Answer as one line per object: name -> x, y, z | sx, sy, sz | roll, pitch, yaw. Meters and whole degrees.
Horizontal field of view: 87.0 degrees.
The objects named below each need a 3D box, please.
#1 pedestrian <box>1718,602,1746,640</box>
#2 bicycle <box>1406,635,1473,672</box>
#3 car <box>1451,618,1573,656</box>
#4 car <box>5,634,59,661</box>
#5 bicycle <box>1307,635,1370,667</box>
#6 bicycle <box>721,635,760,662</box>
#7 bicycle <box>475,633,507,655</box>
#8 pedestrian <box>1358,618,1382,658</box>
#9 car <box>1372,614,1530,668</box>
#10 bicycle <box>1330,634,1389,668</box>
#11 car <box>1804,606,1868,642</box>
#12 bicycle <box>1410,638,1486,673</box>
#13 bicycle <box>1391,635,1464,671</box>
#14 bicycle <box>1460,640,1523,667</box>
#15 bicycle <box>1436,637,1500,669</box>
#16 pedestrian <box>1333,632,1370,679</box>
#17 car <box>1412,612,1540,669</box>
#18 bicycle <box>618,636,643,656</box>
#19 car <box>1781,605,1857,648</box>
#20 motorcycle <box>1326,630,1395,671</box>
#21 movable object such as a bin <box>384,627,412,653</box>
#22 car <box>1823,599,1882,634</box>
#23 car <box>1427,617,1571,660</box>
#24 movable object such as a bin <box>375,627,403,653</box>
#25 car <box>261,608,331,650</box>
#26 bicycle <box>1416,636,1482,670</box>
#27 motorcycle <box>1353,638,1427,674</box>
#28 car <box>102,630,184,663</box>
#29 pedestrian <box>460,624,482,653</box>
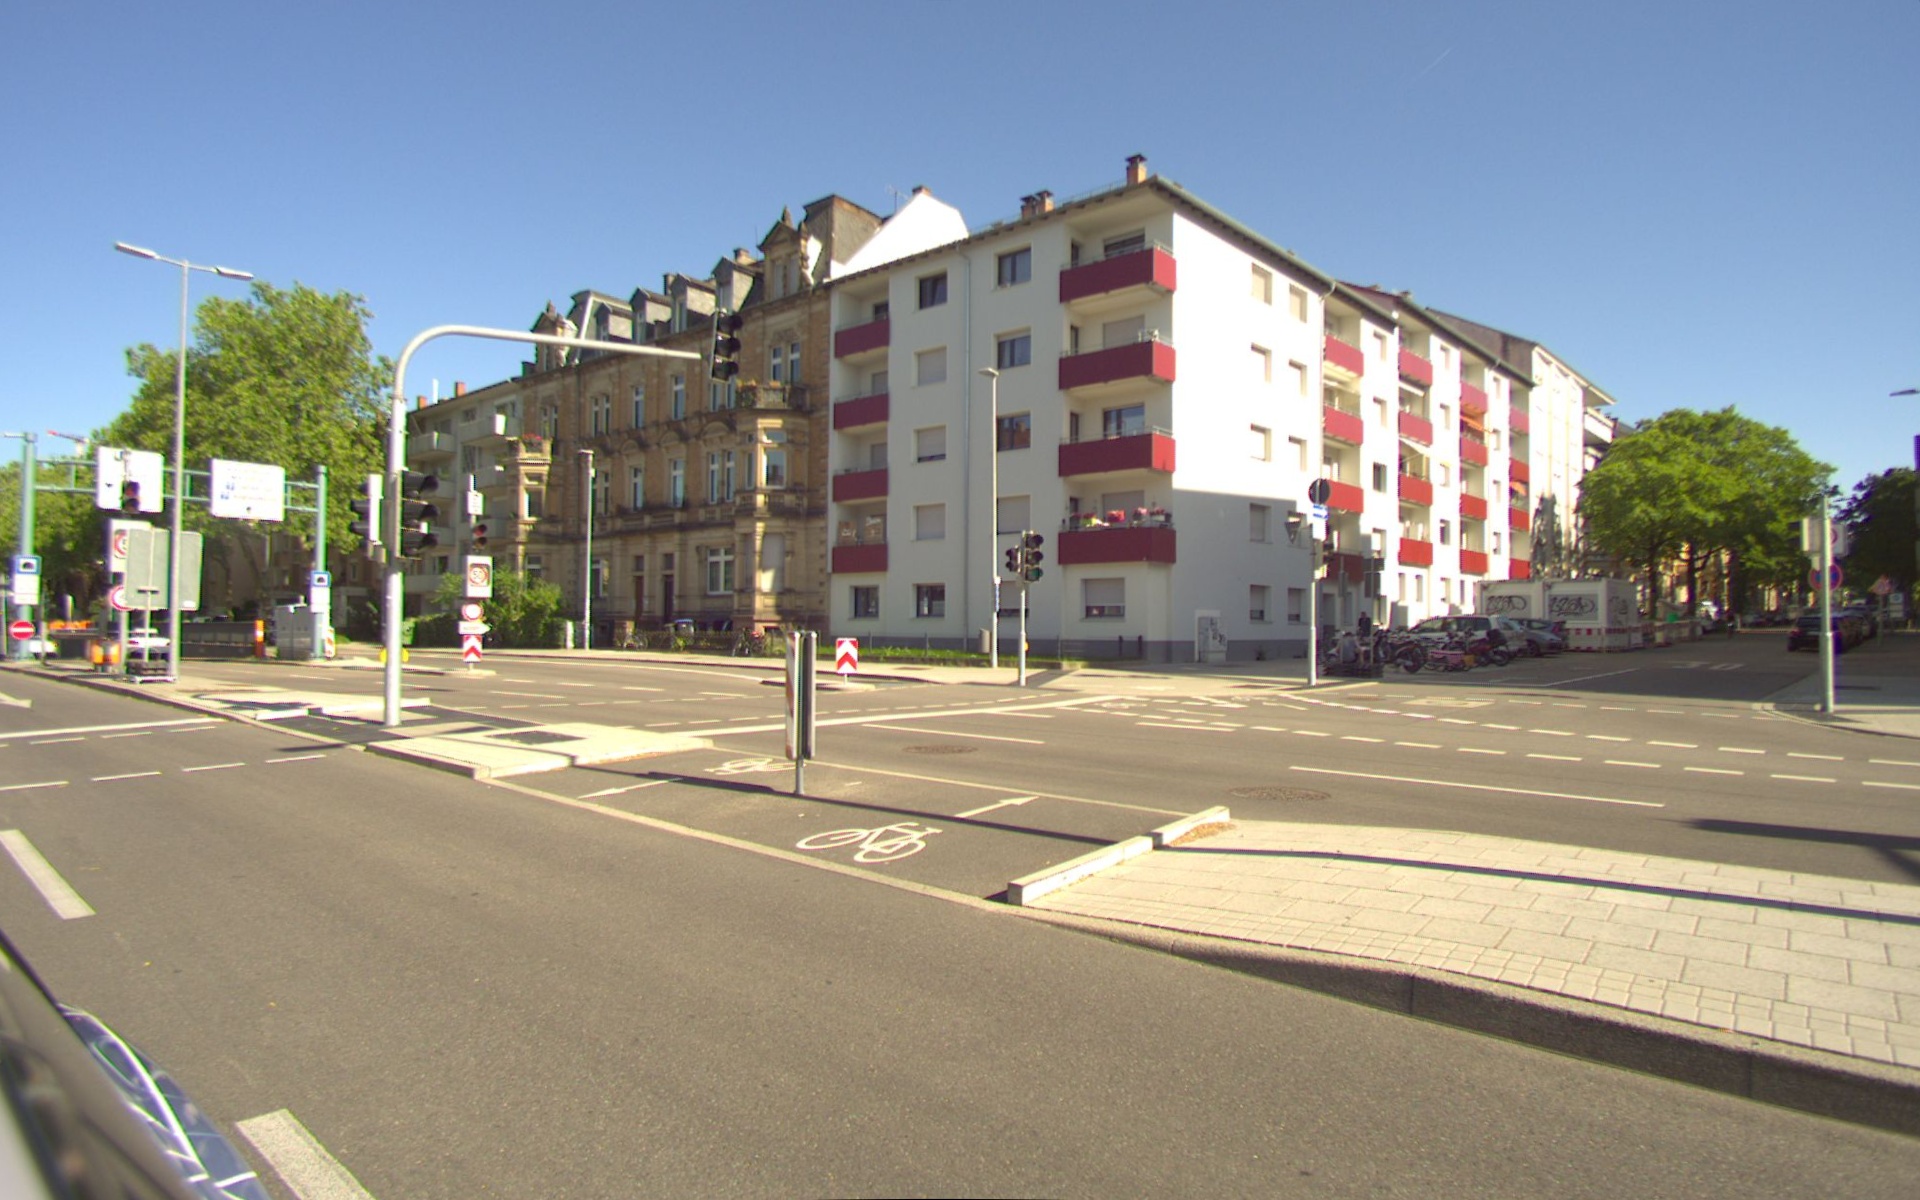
pedestrian -> 42.506, 1.168, 55.733 | 1.149, 2.029, 1.436 | -1, -2, 39
bicycle -> 14.250, 1.575, 30.087 | 1.736, 1.077, 0.483 | -2, -2, 43
car -> 22.229, 1.461, 40.812 | 4.000, 1.473, 1.823 | -2, -2, 43
car -> -57.642, 2.979, 62.835 | 4.387, 1.464, 1.973 | -4, -1, 41
bicycle -> 11.742, 1.571, 31.421 | 0.567, 0.976, 1.737 | 1, -2, -45
bicycle -> -8.067, 1.753, 37.149 | 1.938, 0.965, 0.301 | -1, -3, 41
bicycle -> -23.067, 2.168, 49.719 | 2.247, 1.013, 0.462 | -2, -1, 39
pedestrian -> 15.759, 1.446, 38.919 | 0.695, 1.508, 0.593 | -1, -2, 43
car -> 16.920, 1.370, 35.028 | 1.970, 1.744, 4.483 | 1, -2, -43
bicycle -> 12.939, 1.652, 32.836 | 0.567, 1.066, 1.691 | 1, -2, -45
car -> 41.227, 1.119, 47.591 | 2.001, 1.614, 3.942 | -2, -2, 44
bicycle -> 14.005, 1.570, 29.099 | 0.471, 0.955, 1.954 | 1, -2, -41
bicycle -> 13.339, 1.508, 28.938 | 0.500, 0.985, 1.890 | 1, -2, -33
bicycle -> 16.701, 1.676, 31.829 | 1.708, 0.820, 0.412 | 0, -2, 17
bicycle -> 15.705, 1.628, 31.321 | 1.723, 0.955, 0.453 | -1, -2, 42
pedestrian -> 10.004, 1.397, 25.851 | 0.785, 1.162, 0.712 | -1, -2, 28
car -> 18.589, 1.422, 36.564 | 3.793, 1.970, 1.678 | -1, -2, 43
bicycle -> -13.682, 1.903, 41.965 | 1.413, 0.777, 0.296 | -2, -3, 41
car -> 34.129, 1.037, 40.161 | 2.001, 1.614, 3.942 | -2, -2, 44
motorcycle -> 11.701, 1.456, 29.620 | 0.604, 1.150, 1.786 | 1, -2, -41
movable object such as a bin -> -30.872, 2.202, 55.562 | 1.473, 1.371, 0.883 | -3, -5, 41
car -> 48.440, 0.877, 54.892 | 3.939, 1.786, 2.002 | 0, -1, -43
car -> 20.509, 1.448, 38.630 | 4.574, 1.541, 1.740 | -2, -2, 43
movable object such as a bin -> -31.891, 2.249, 56.512 | 1.313, 1.373, 0.884 | -3, -5, 39
car -> -41.615, 1.857, 63.378 | 5.284, 2.465, 2.221 | -3, -5, 41
bicycle -> 14.927, 1.601, 30.903 | 0.502, 1.011, 1.737 | 1, -2, -45
motorcycle -> 11.894, 1.532, 28.034 | 0.497, 0.943, 1.844 | 1, -2, -42
car -> -35.734, 2.037, 44.246 | 4.311, 1.356, 1.912 | -3, -3, 39
pedestrian -> -24.109, 1.906, 49.864 | 1.089, 1.388, 0.561 | -2, -2, 39
